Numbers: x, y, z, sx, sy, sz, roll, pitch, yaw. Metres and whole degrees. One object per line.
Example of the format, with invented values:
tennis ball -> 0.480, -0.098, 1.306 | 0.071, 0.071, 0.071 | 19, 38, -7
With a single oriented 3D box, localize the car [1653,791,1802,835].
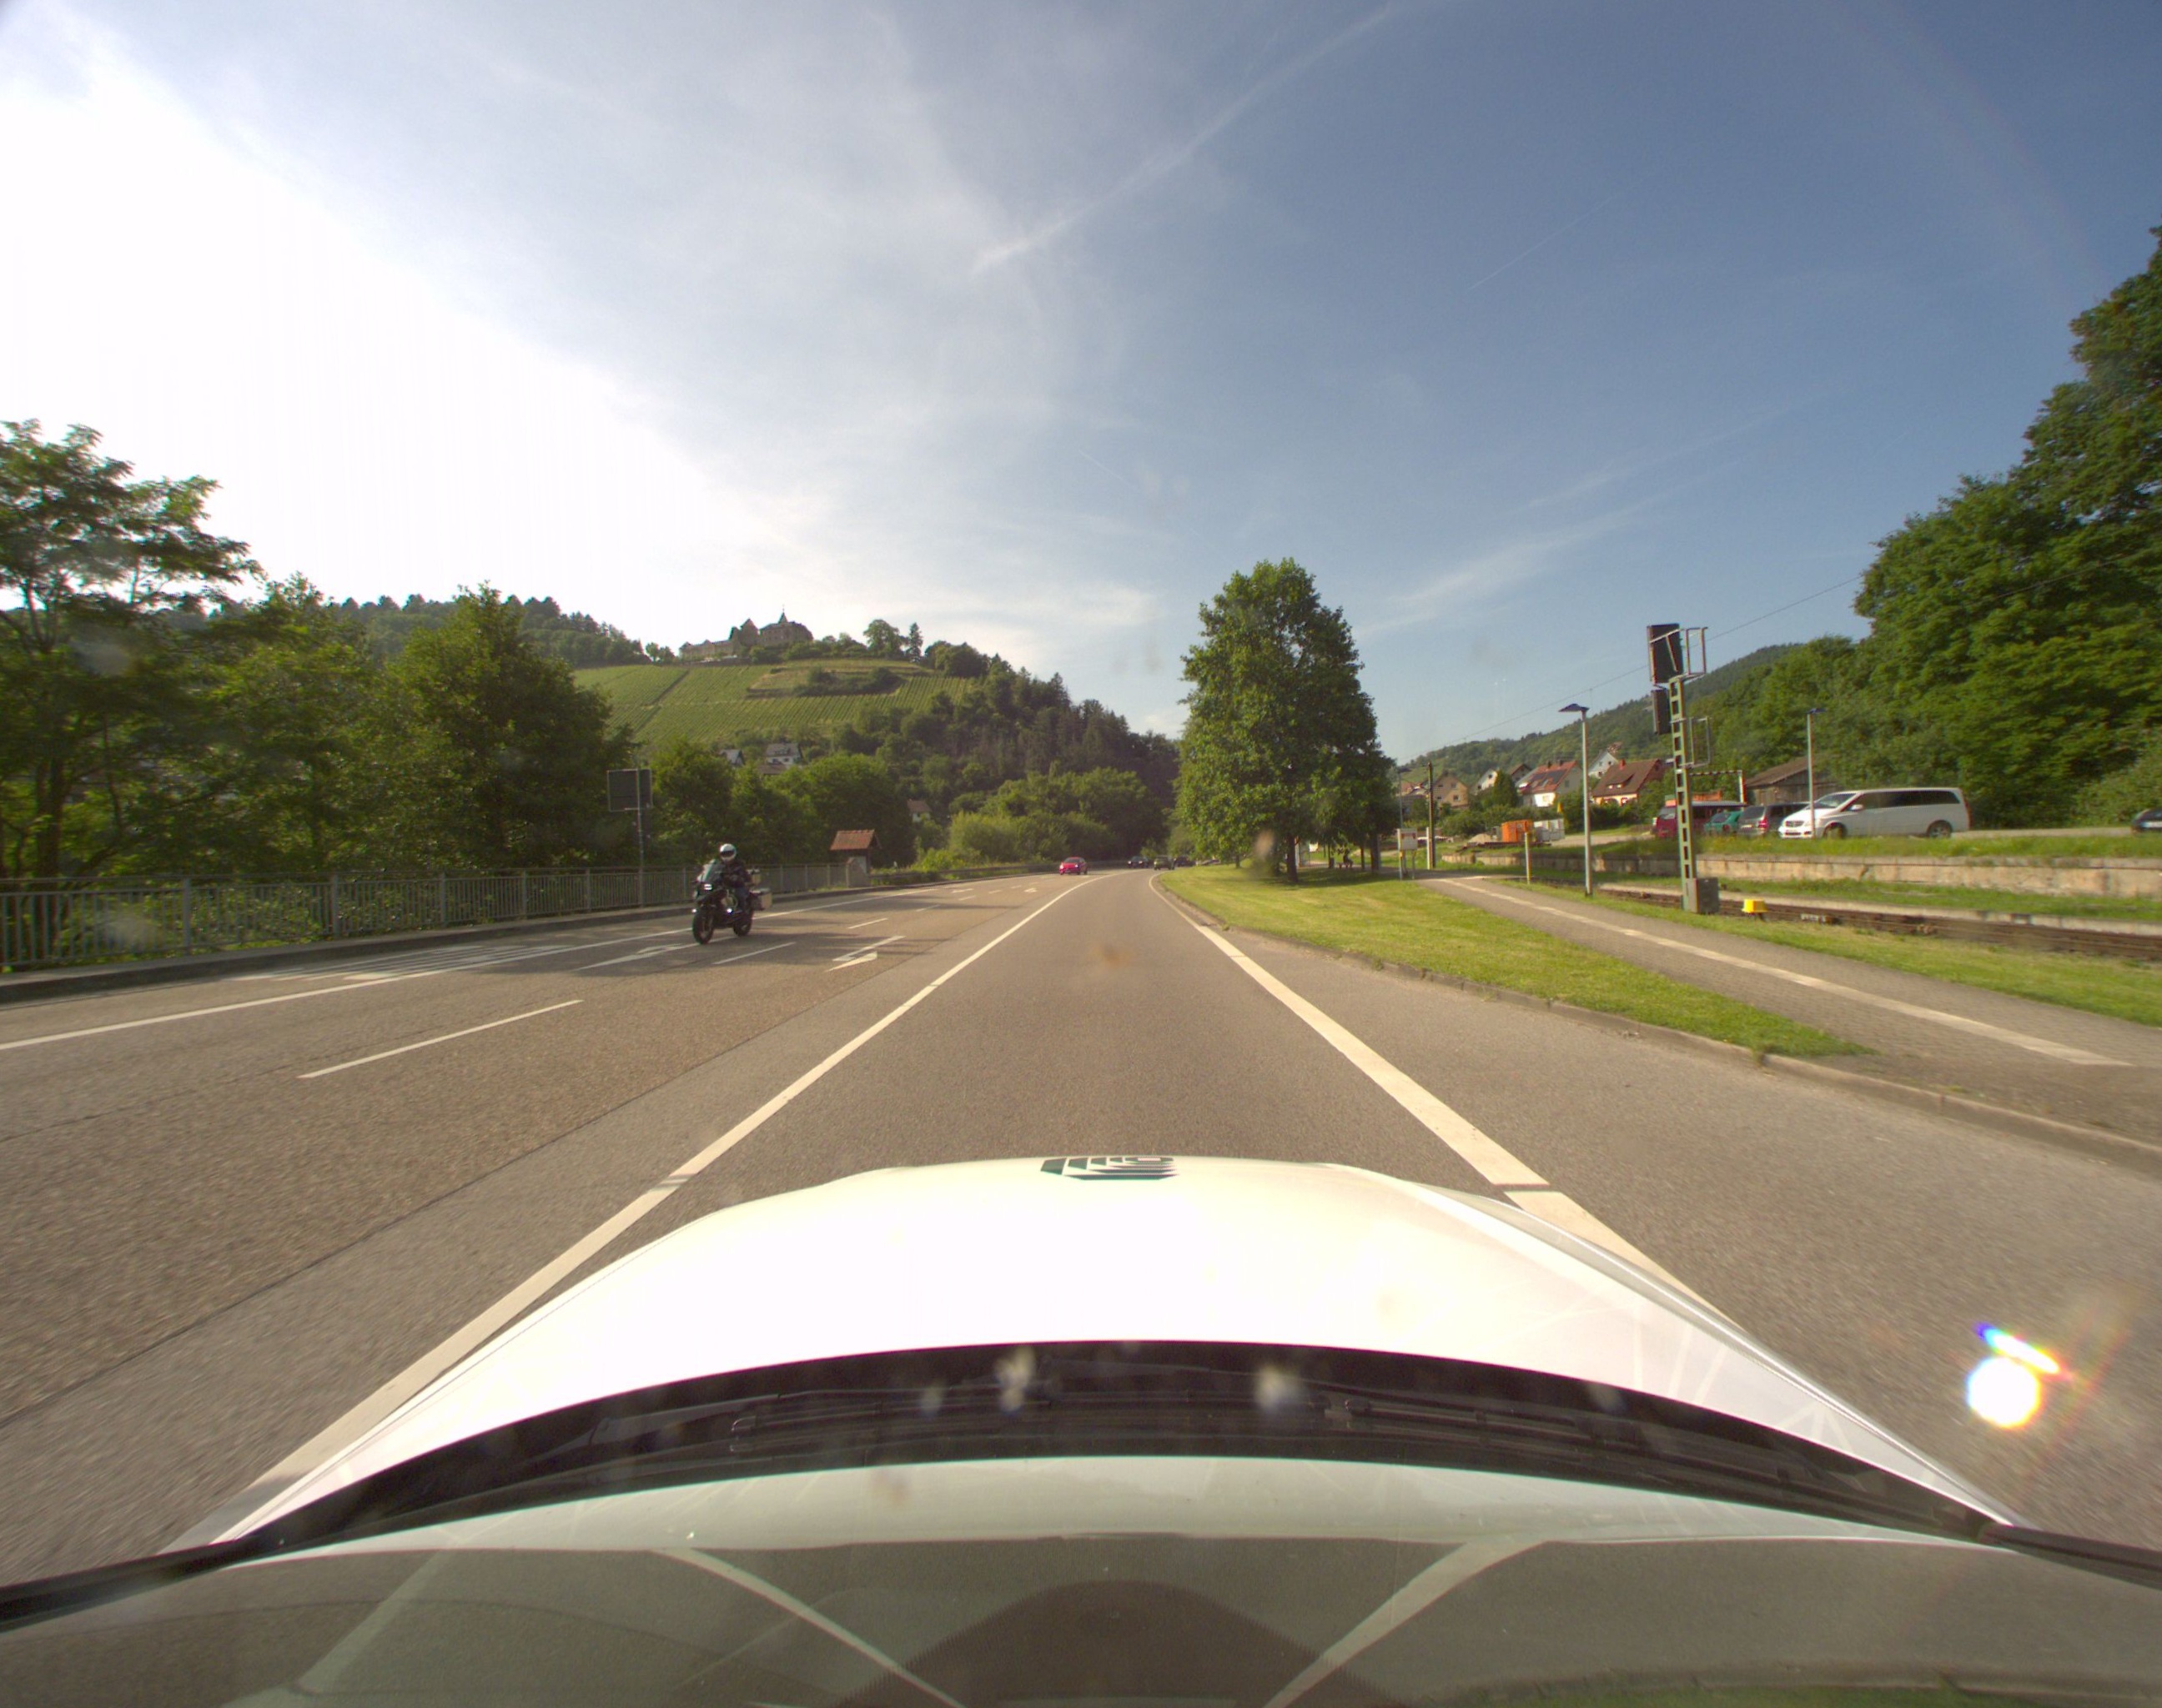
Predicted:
car -> 28.805, -1.790, 36.421 | 4.926, 1.690, 1.939 | -2, 0, 6

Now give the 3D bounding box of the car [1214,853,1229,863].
car -> 24.044, 0.654, 139.214 | 1.792, 1.453, 3.664 | -4, 0, 18

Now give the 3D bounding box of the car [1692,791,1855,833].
car -> 28.537, -1.704, 33.715 | 4.926, 1.468, 1.899 | -2, 0, 6

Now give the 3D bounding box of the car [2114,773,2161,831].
car -> 27.410, -1.297, 18.893 | 4.243, 1.343, 1.835 | -2, 0, 6

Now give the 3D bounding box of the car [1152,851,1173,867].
car -> 8.605, 0.511, 85.500 | 1.716, 1.457, 3.422 | -4, 0, 13

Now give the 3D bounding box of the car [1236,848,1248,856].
car -> 32.101, -0.368, 162.293 | 1.793, 1.408, 3.793 | -4, 0, 20

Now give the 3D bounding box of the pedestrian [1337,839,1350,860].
pedestrian -> 15.496, -0.270, 48.008 | 0.630, 1.161, 0.729 | -4, -1, 15

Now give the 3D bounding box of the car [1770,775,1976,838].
car -> 27.824, -1.622, 28.786 | 4.926, 1.943, 2.145 | -2, 0, 6

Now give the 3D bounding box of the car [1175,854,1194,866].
car -> 13.186, 0.765, 103.943 | 1.826, 1.459, 3.728 | -4, 0, 15

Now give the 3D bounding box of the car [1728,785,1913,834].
car -> 28.158, -1.661, 31.169 | 4.926, 1.587, 2.145 | -2, 0, 6

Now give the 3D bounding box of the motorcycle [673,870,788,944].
motorcycle -> -6.620, 0.951, 15.588 | 0.968, 1.221, 2.573 | -1, 0, 2

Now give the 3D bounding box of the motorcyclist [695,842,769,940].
motorcyclist -> -6.646, 0.674, 15.552 | 0.841, 1.784, 1.172 | -1, 0, 2

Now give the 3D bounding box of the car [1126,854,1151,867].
car -> 6.987, 0.766, 98.300 | 1.836, 1.469, 4.564 | -1, 0, 19

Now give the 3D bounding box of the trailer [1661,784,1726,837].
trailer -> 50.505, -3.481, 67.337 | 2.582, 3.893, 7.778 | -4, -1, 25

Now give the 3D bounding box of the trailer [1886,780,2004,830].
trailer -> 44.183, -2.464, 41.751 | 3.658, 2.189, 1.829 | -3, 0, 25

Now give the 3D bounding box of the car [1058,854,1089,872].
car -> -0.619, 0.772, 70.086 | 1.663, 1.460, 4.218 | -1, 0, 14
